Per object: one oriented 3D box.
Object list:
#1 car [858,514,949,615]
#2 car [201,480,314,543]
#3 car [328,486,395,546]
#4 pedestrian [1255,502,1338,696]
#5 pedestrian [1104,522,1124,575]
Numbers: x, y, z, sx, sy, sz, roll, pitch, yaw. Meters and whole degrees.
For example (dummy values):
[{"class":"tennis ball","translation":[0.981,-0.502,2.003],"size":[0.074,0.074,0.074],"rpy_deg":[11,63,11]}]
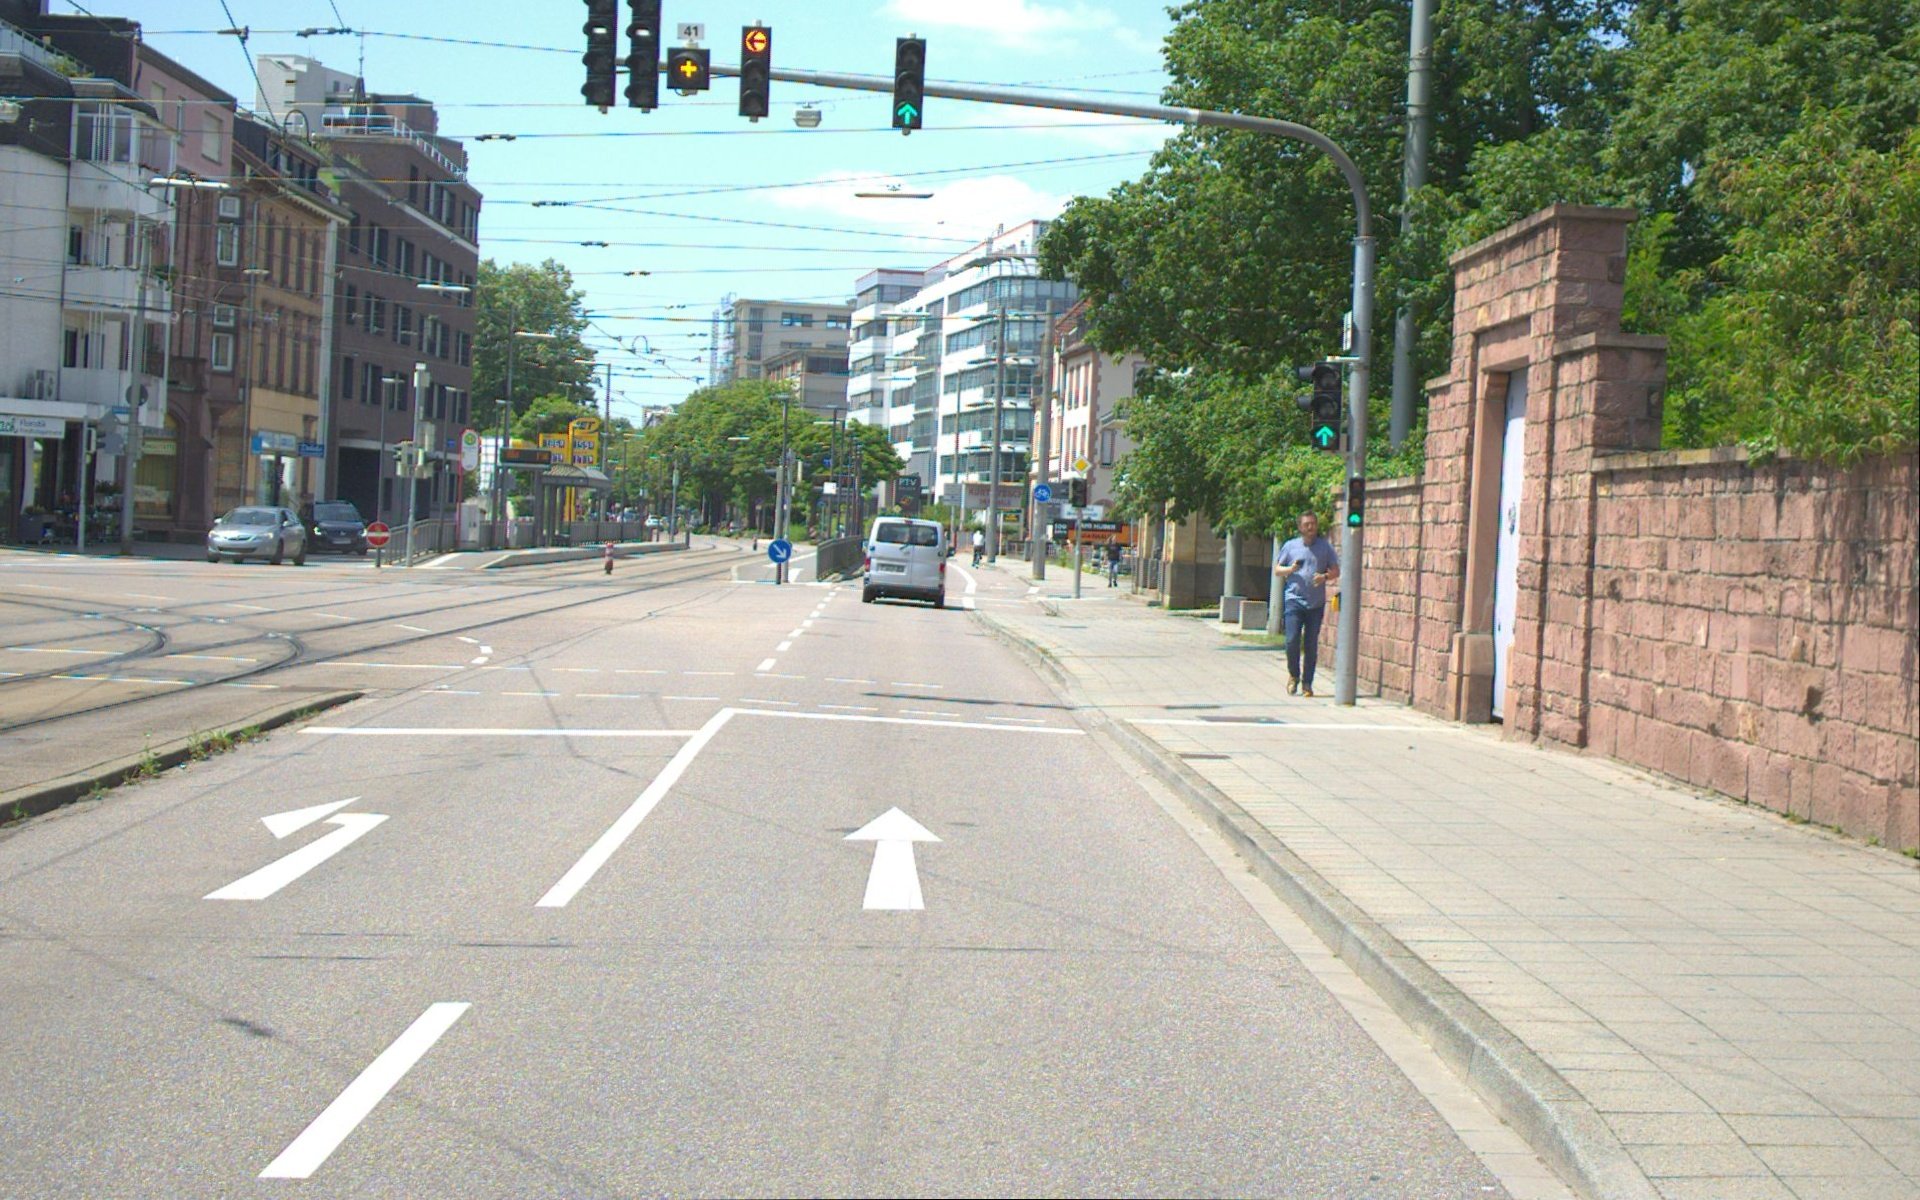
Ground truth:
[{"class":"car","translation":[-1.183,-0.781,73.268],"size":[1.752,2.006,4.000],"rpy_deg":[2,2,1]},{"class":"car","translation":[-17.552,-2.218,86.081],"size":[1.993,1.466,4.402],"rpy_deg":[3,1,-2]},{"class":"car","translation":[-18.684,-2.646,107.471],"size":[1.723,1.677,4.281],"rpy_deg":[3,2,-6]},{"class":"pedestrian","translation":[3.298,-0.018,33.685],"size":[0.716,1.845,0.767],"rpy_deg":[3,1,6]},{"class":"pedestrian","translation":[4.592,-1.526,102.485],"size":[0.577,1.551,0.786],"rpy_deg":[1,0,3]}]
